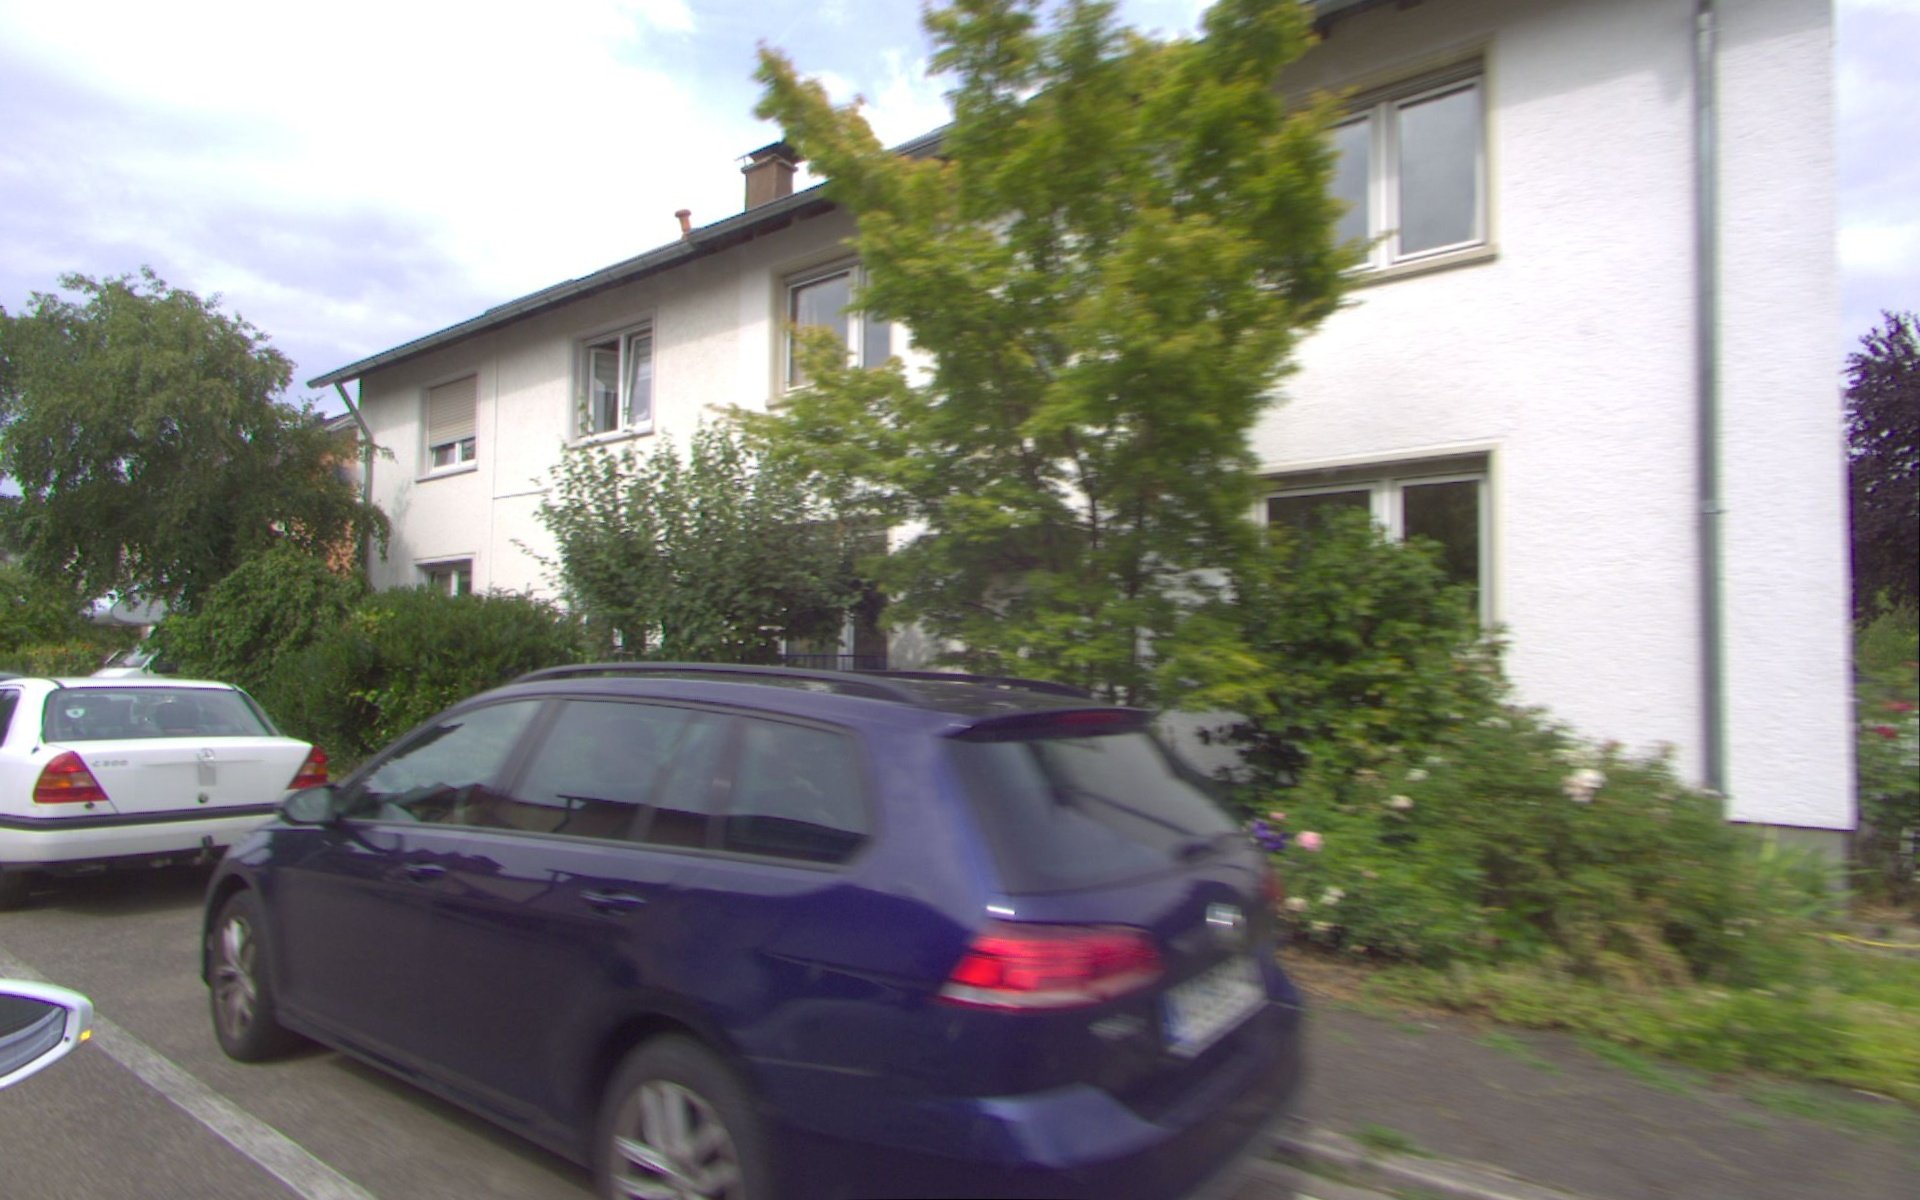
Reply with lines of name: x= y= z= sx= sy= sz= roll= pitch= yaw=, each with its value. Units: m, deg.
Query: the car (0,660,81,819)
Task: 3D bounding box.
car: x=-11.047 y=1.400 z=10.649 sx=4.164 sy=1.489 sz=1.736 roll=-2 pitch=-3 yaw=37

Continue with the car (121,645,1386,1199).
car: x=-1.185 y=0.917 z=3.694 sx=4.789 sy=1.457 sz=1.862 roll=-2 pitch=-4 yaw=37

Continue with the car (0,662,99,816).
car: x=-11.058 y=1.392 z=10.717 sx=4.163 sy=1.459 sz=1.701 roll=-2 pitch=-5 yaw=34

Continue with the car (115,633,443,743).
car: x=-12.077 y=1.524 z=18.039 sx=1.876 sy=1.729 sz=4.516 roll=-2 pitch=-4 yaw=38

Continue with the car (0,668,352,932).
car: x=-6.557 y=1.227 z=7.524 sx=4.636 sy=1.381 sz=1.689 roll=-2 pitch=-4 yaw=35

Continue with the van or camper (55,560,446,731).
van or camper: x=-13.666 y=0.905 z=19.770 sx=2.502 sy=2.853 sz=5.787 roll=-1 pitch=-3 yaw=34
